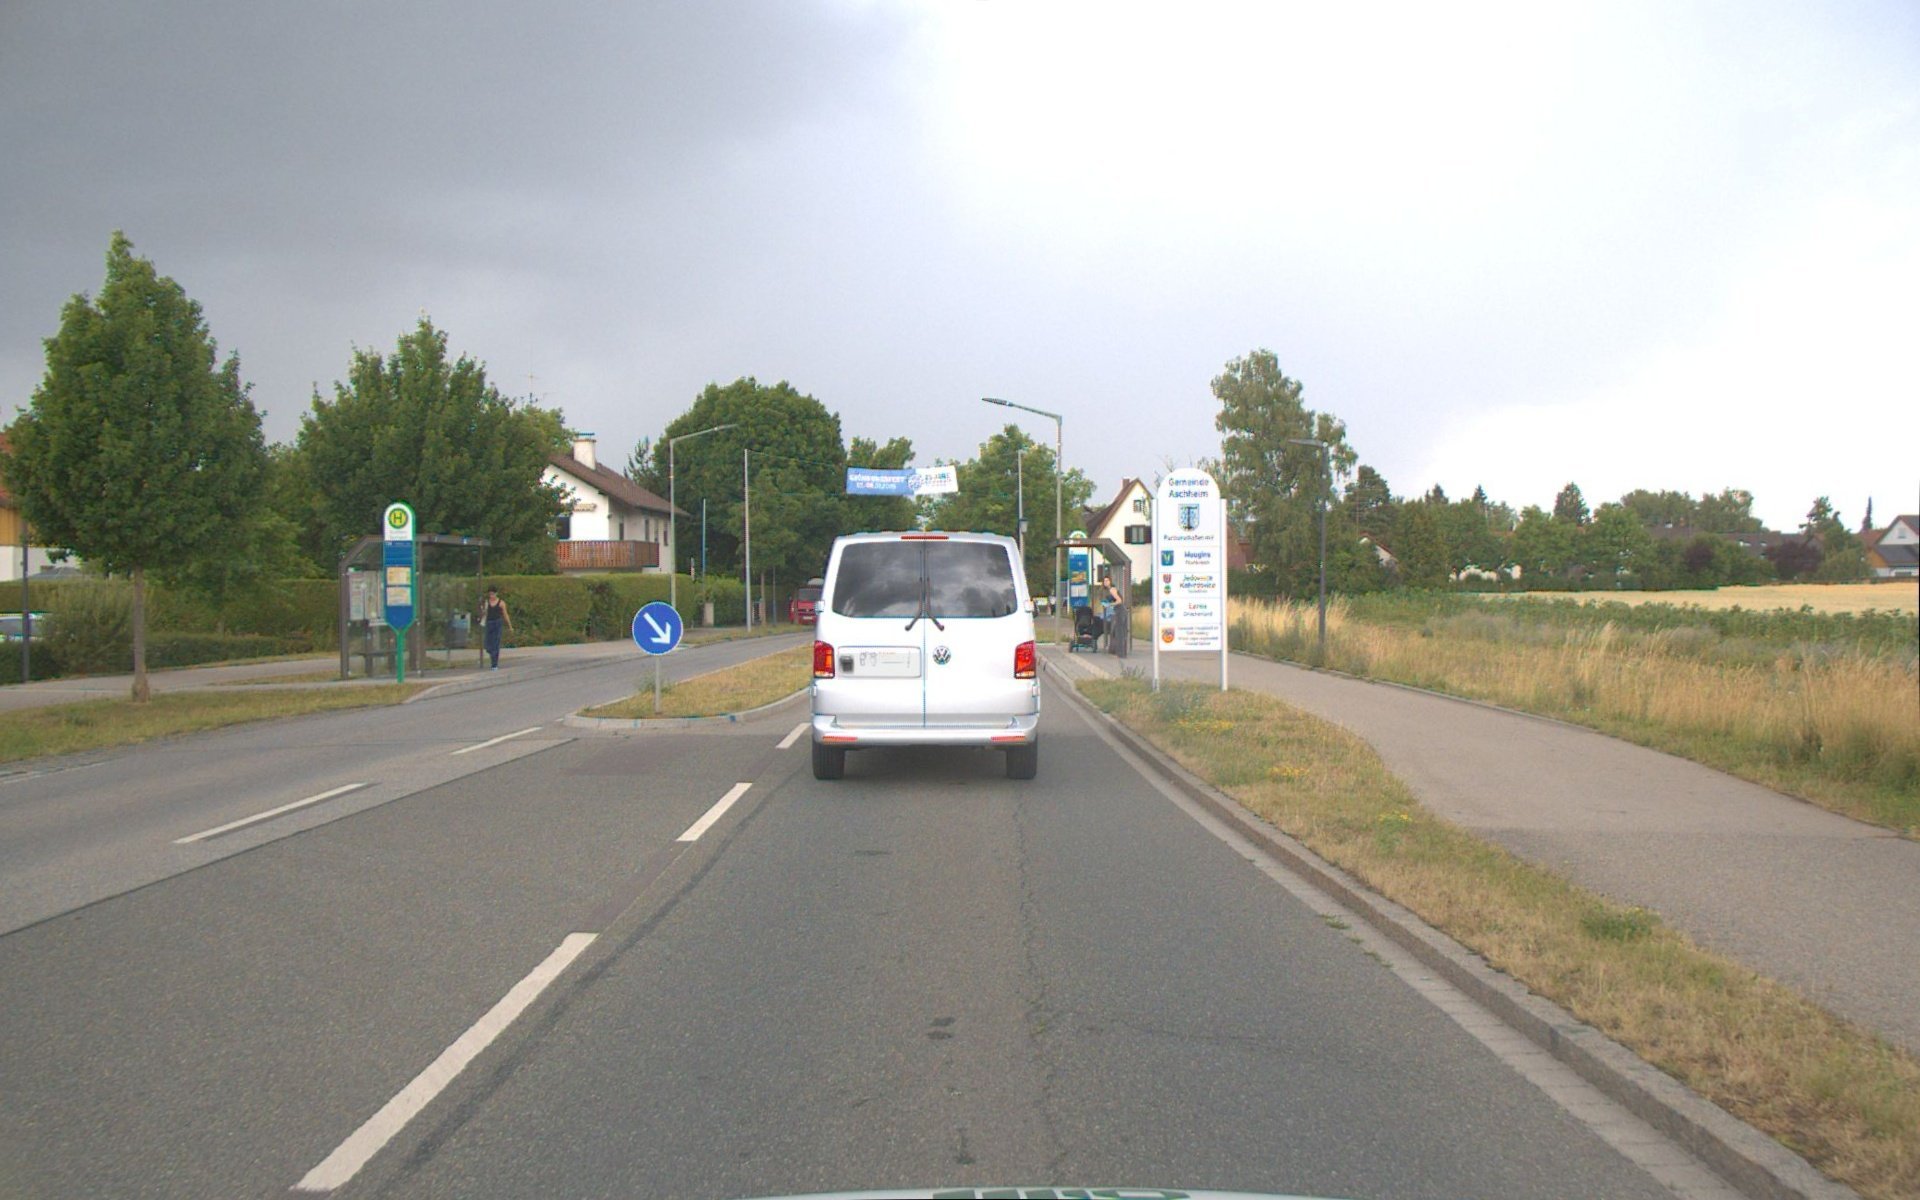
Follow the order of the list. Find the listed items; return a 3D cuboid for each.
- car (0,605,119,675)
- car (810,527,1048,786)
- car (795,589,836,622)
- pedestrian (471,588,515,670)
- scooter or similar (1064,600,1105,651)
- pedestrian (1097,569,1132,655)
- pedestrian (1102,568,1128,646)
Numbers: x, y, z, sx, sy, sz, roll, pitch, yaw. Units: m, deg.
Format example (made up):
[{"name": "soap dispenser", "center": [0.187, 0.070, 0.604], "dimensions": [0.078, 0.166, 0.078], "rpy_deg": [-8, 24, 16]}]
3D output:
[{"name": "car", "center": [-22.879, 0.997, 40.630], "dimensions": [3.520, 1.555, 1.658], "rpy_deg": [-3, 1, -4]}, {"name": "car", "center": [-0.288, 0.400, 14.451], "dimensions": [1.789, 1.947, 3.999], "rpy_deg": [0, 1, -2]}, {"name": "car", "center": [-6.919, 0.265, 79.474], "dimensions": [1.620, 1.454, 3.602], "rpy_deg": [-3, 1, -1]}, {"name": "pedestrian", "center": [-9.200, 0.565, 32.625], "dimensions": [0.611, 1.551, 0.680], "rpy_deg": [-3, 0, -1]}, {"name": "scooter or similar", "center": [2.875, 0.584, 38.410], "dimensions": [0.831, 1.123, 1.094], "rpy_deg": [-3, 1, 0]}, {"name": "pedestrian", "center": [3.259, 0.246, 34.837], "dimensions": [0.626, 1.762, 0.487], "rpy_deg": [-2, 0, 11]}, {"name": "pedestrian", "center": [3.602, 0.156, 38.515], "dimensions": [0.475, 1.762, 0.642], "rpy_deg": [-2, 0, -1]}]
